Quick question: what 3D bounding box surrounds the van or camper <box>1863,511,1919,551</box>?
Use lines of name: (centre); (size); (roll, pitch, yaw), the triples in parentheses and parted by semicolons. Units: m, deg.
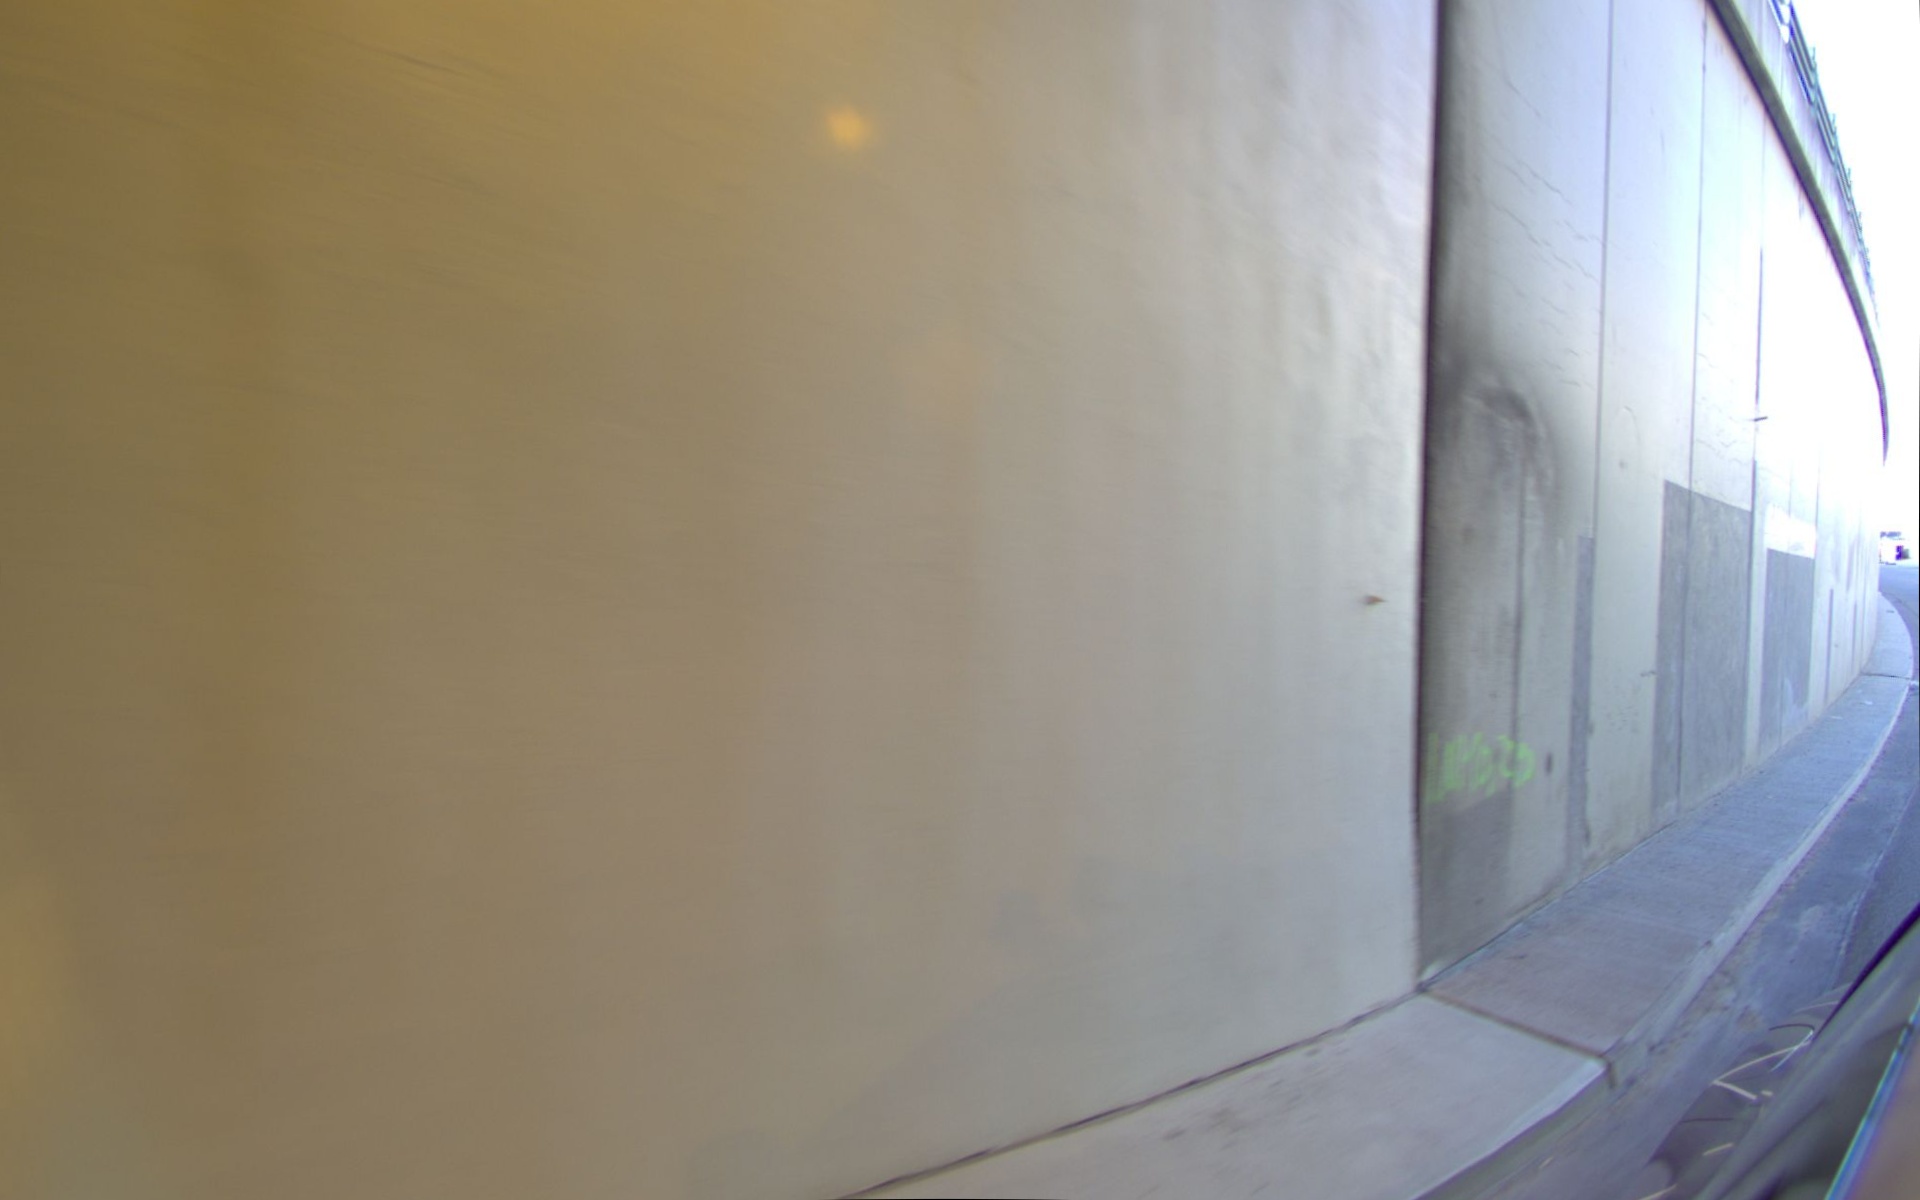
van or camper: (66.044, -4.877, 71.527); (2.184, 2.644, 6.750); (-1, 2, 32)

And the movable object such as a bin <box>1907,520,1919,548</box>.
movable object such as a bin: (86.181, -5.827, 89.760); (2.089, 2.424, 4.262); (3, 3, 30)
